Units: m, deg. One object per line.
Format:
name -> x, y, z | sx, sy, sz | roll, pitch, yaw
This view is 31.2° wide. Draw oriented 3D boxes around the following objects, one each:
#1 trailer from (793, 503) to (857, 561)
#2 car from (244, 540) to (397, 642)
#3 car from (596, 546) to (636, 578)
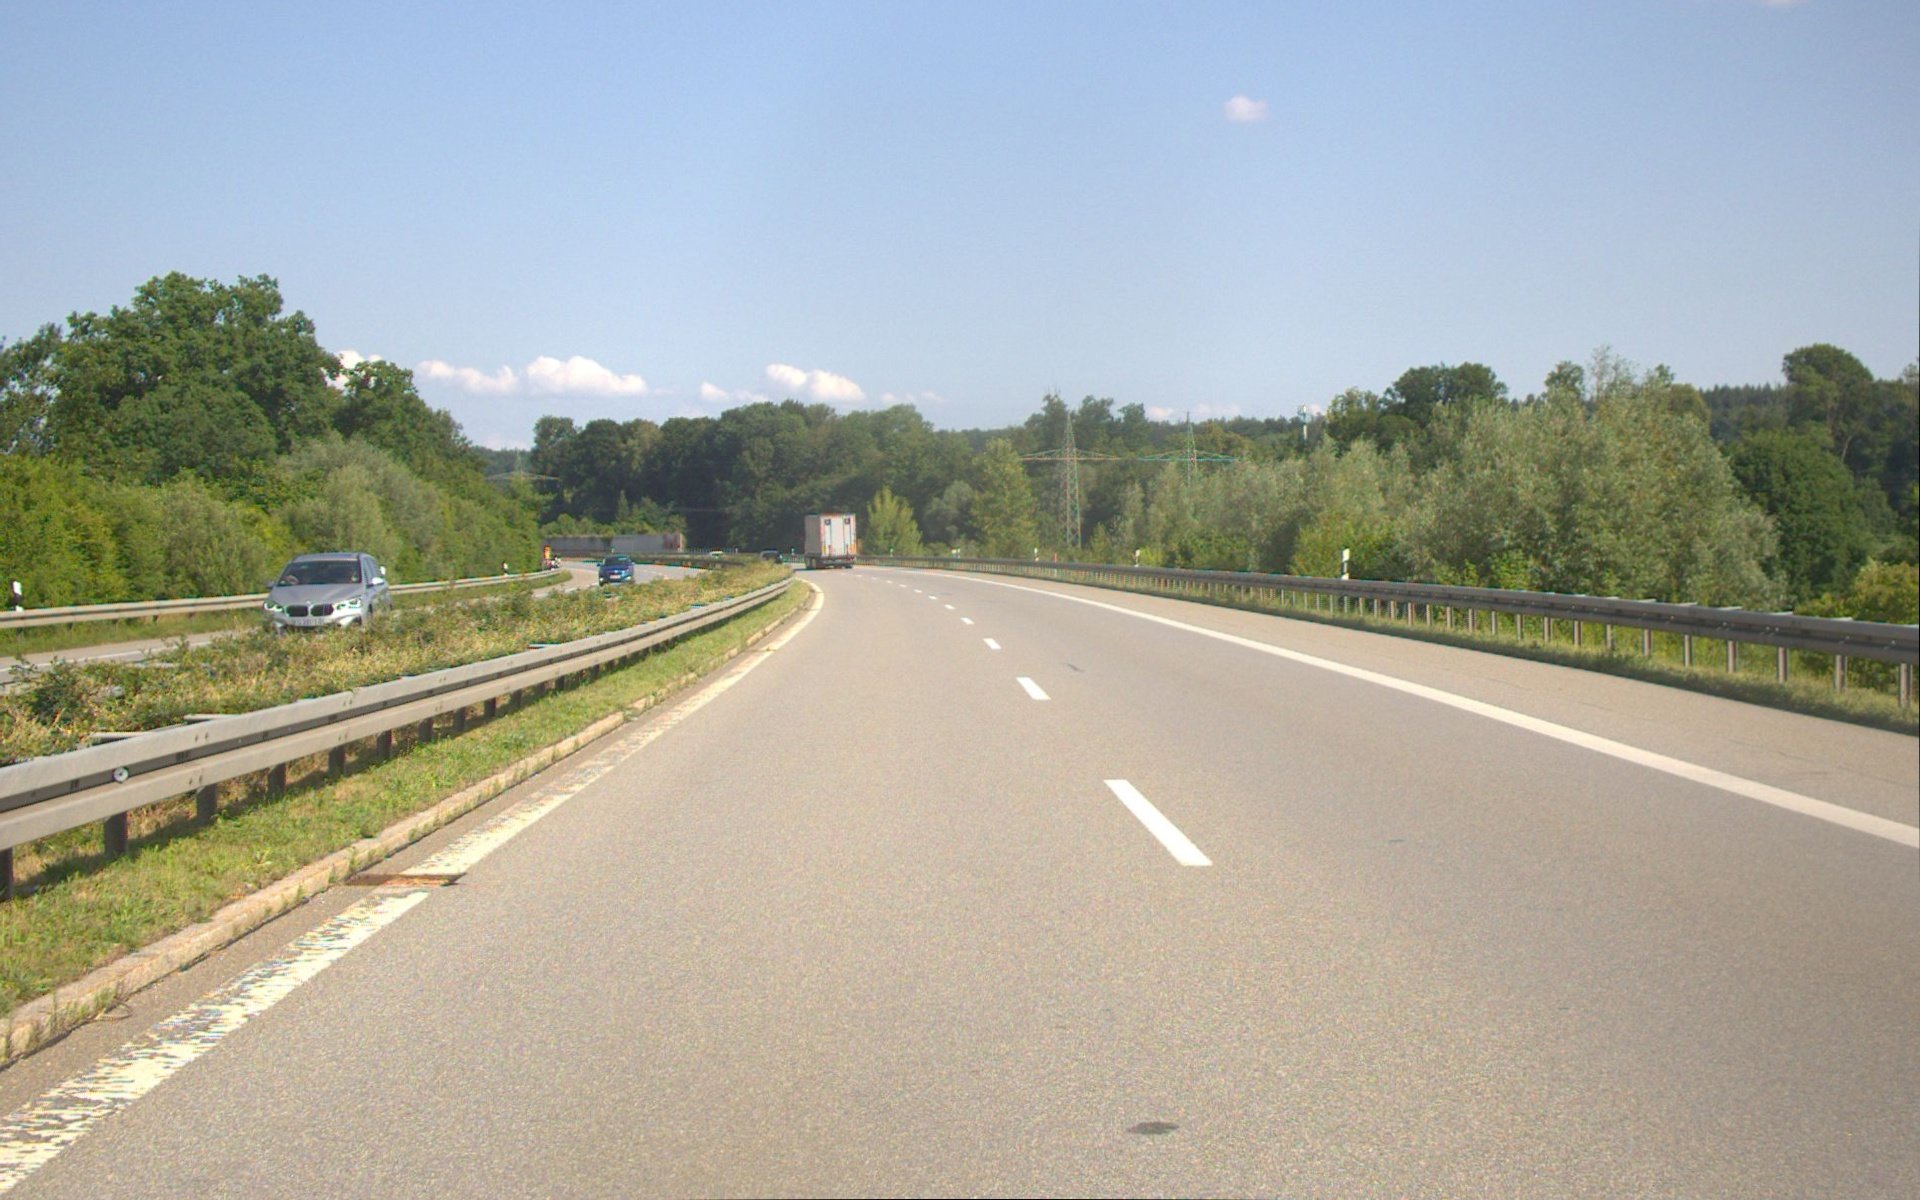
trailer -> -10.077, -5.058, 255.540 | 2.883, 4.052, 12.424 | -3, 2, -10
car -> -10.966, -0.193, 59.275 | 1.909, 1.583, 4.918 | -2, 1, -3
car -> -16.799, -1.855, 168.081 | 1.676, 1.436, 4.001 | -3, 1, -3
